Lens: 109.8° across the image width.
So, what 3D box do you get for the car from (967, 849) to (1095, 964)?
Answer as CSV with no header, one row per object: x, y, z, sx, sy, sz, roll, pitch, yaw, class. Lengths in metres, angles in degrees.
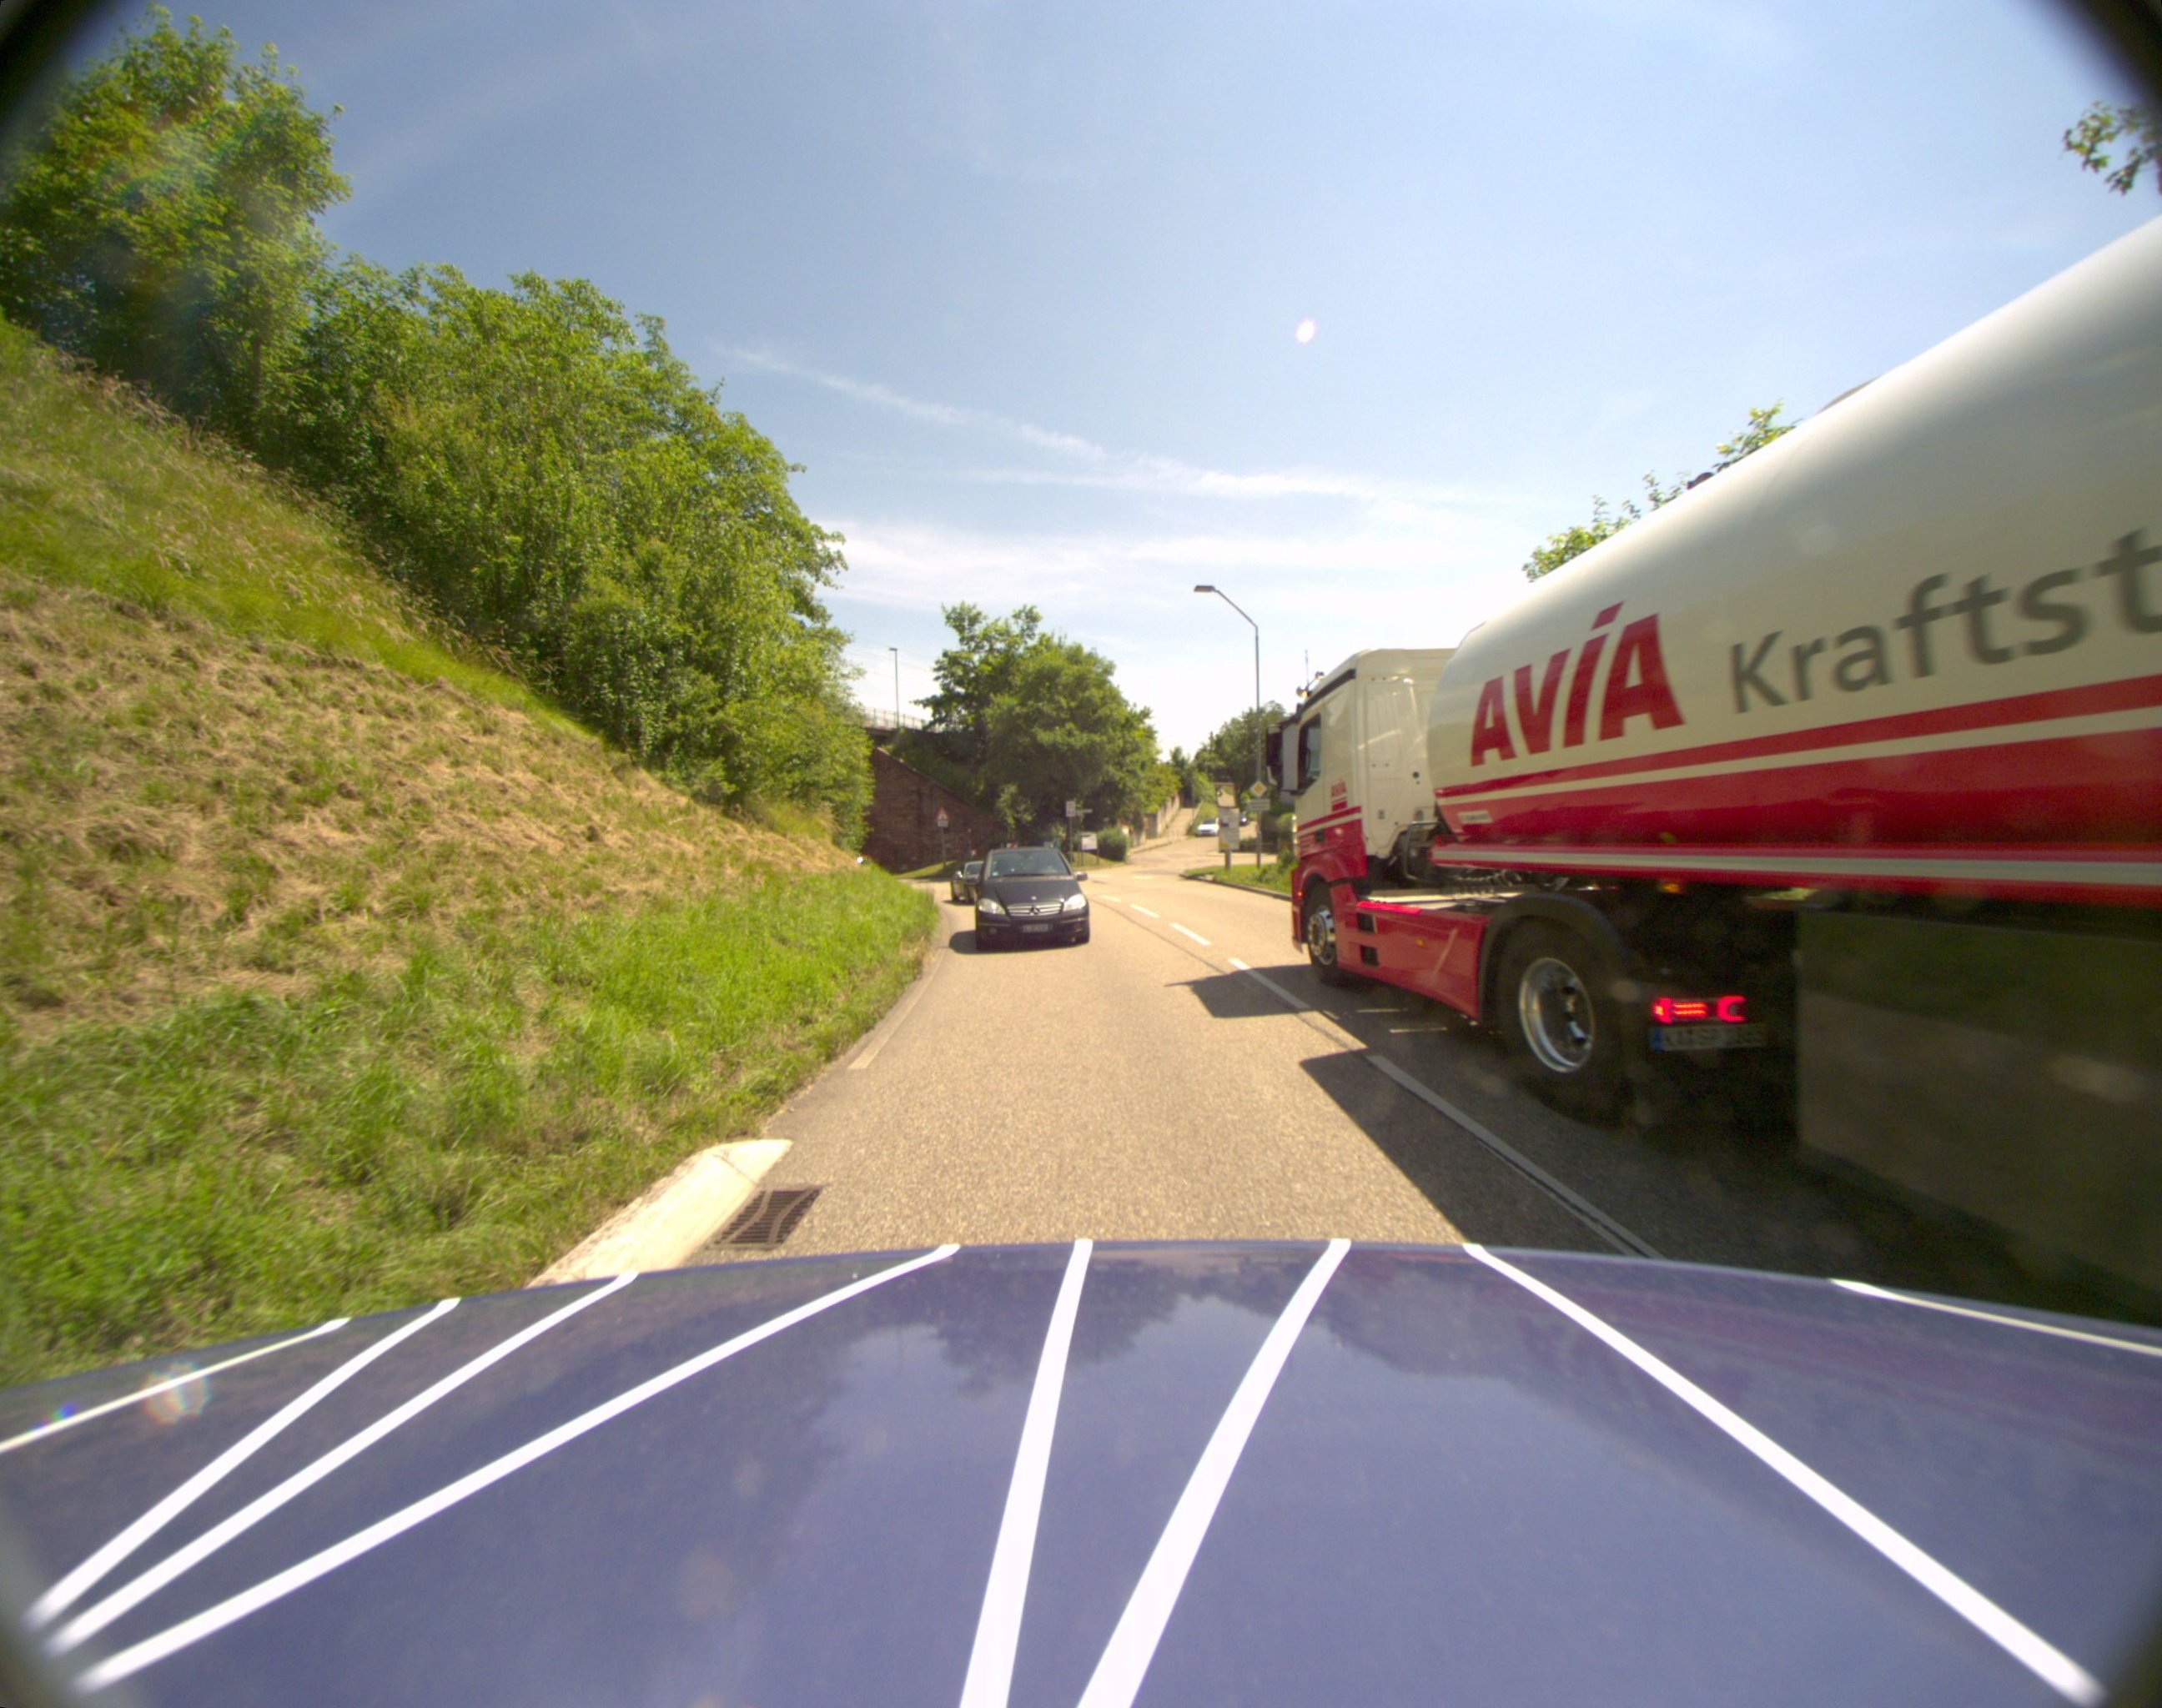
-0.958,0.754,13.051,1.797,1.570,3.797,-3,1,-7,car

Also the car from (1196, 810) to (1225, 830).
11.753,-3.064,68.752,1.996,1.499,4.001,-3,4,16,car

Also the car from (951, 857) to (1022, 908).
-2.967,0.818,23.280,1.649,1.315,3.433,-3,1,-14,car

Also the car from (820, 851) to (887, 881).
-12.999,0.699,43.419,3.627,1.450,1.663,-3,2,34,car

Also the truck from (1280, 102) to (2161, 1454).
3.620,-0.259,5.297,2.632,3.152,7.066,-2,1,1,truck

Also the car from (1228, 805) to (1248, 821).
17.267,-4.524,83.562,1.747,1.382,4.001,-3,5,18,car

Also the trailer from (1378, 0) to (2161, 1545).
3.624,-0.171,0.384,2.639,3.354,11.140,-2,1,1,trailer
